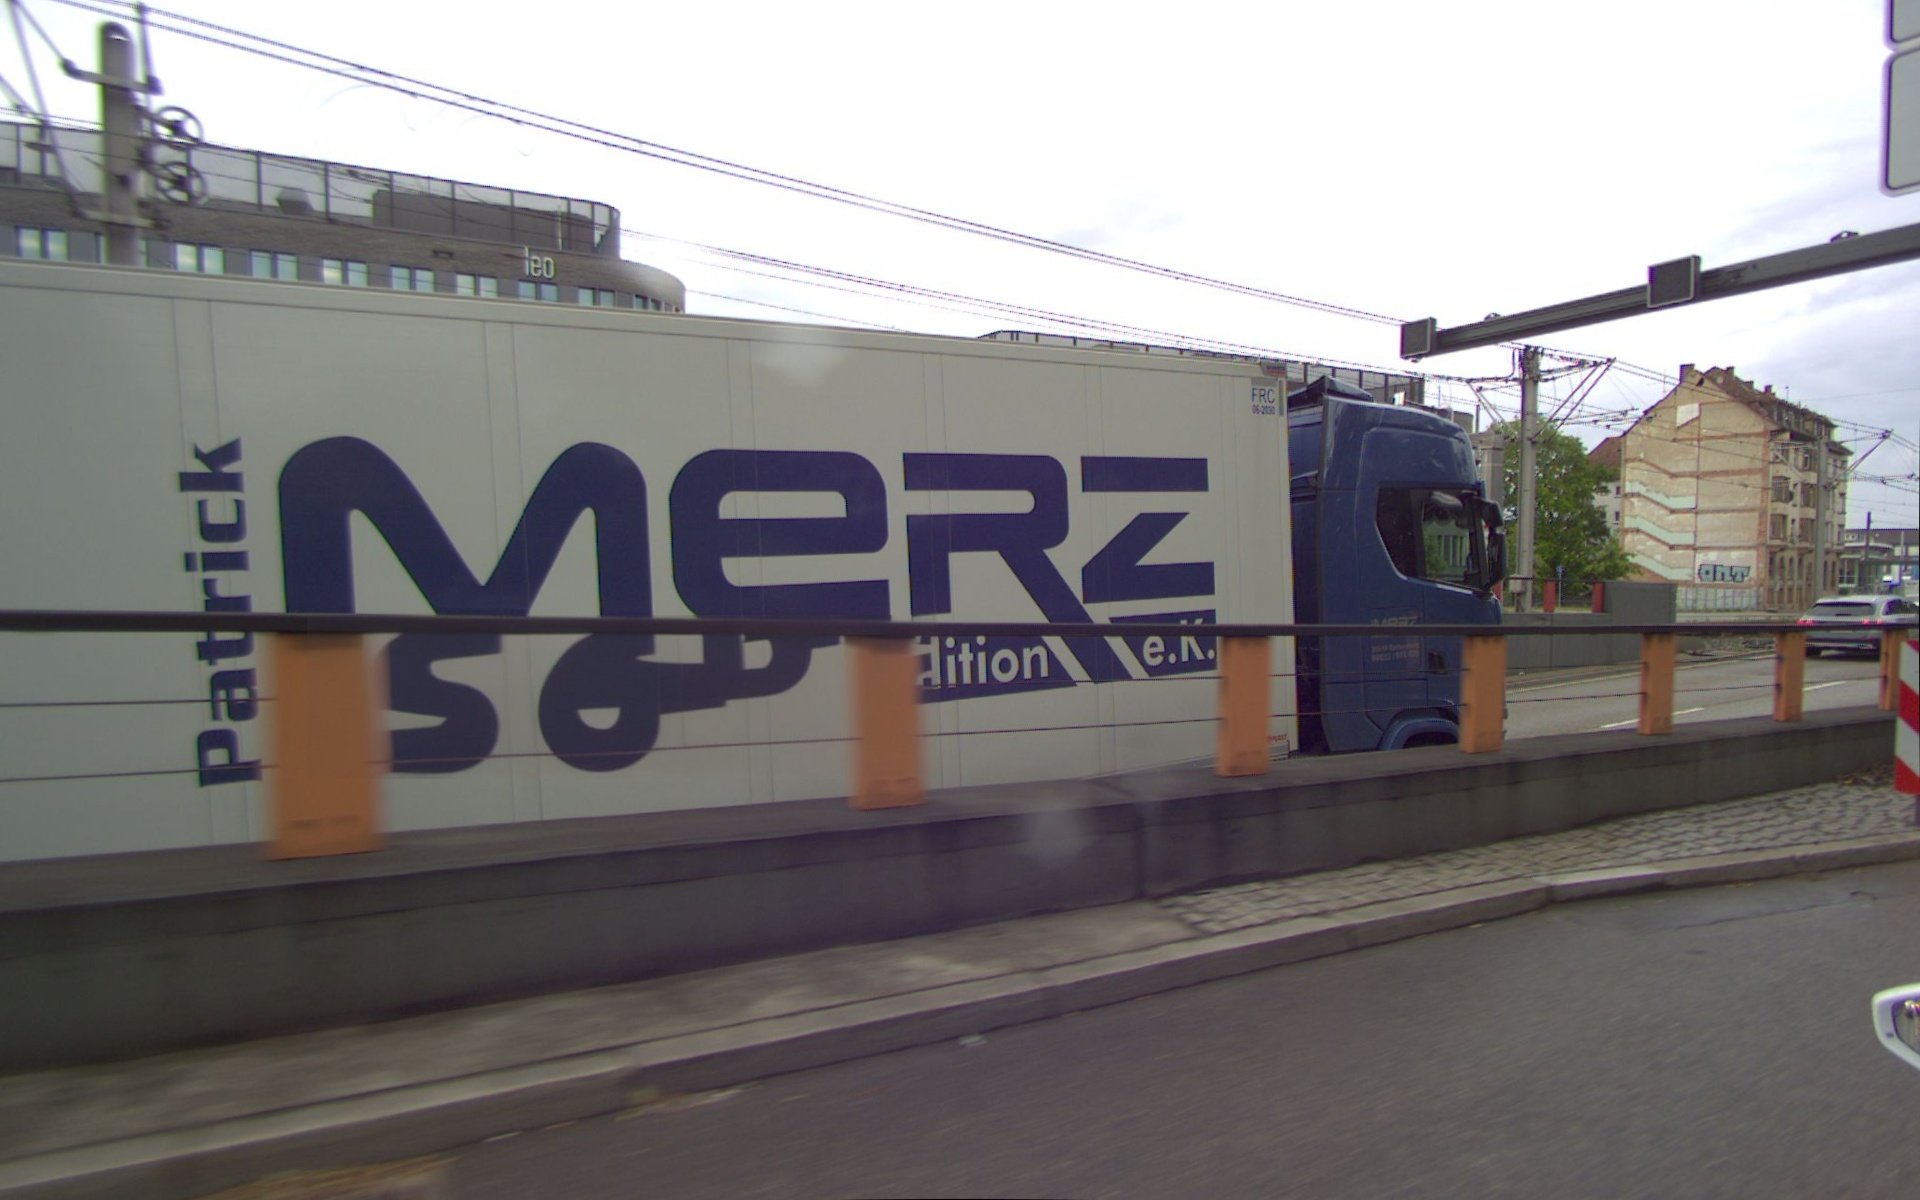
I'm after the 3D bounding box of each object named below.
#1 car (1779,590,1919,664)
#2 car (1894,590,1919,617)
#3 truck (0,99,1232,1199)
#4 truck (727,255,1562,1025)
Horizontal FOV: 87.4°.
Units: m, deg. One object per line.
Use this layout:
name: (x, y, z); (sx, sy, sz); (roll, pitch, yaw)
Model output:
car: (22.103, 0.604, 24.659); (4.043, 1.586, 1.812); (-2, 1, -30)
car: (81.481, 0.363, 85.499); (5.063, 2.146, 1.979); (2, 2, -37)
truck: (-4.417, 0.228, 4.933); (12.872, 4.253, 2.750); (0, 0, -29)
truck: (1.736, 0.239, 8.427); (6.703, 4.253, 2.749); (0, 1, -30)
